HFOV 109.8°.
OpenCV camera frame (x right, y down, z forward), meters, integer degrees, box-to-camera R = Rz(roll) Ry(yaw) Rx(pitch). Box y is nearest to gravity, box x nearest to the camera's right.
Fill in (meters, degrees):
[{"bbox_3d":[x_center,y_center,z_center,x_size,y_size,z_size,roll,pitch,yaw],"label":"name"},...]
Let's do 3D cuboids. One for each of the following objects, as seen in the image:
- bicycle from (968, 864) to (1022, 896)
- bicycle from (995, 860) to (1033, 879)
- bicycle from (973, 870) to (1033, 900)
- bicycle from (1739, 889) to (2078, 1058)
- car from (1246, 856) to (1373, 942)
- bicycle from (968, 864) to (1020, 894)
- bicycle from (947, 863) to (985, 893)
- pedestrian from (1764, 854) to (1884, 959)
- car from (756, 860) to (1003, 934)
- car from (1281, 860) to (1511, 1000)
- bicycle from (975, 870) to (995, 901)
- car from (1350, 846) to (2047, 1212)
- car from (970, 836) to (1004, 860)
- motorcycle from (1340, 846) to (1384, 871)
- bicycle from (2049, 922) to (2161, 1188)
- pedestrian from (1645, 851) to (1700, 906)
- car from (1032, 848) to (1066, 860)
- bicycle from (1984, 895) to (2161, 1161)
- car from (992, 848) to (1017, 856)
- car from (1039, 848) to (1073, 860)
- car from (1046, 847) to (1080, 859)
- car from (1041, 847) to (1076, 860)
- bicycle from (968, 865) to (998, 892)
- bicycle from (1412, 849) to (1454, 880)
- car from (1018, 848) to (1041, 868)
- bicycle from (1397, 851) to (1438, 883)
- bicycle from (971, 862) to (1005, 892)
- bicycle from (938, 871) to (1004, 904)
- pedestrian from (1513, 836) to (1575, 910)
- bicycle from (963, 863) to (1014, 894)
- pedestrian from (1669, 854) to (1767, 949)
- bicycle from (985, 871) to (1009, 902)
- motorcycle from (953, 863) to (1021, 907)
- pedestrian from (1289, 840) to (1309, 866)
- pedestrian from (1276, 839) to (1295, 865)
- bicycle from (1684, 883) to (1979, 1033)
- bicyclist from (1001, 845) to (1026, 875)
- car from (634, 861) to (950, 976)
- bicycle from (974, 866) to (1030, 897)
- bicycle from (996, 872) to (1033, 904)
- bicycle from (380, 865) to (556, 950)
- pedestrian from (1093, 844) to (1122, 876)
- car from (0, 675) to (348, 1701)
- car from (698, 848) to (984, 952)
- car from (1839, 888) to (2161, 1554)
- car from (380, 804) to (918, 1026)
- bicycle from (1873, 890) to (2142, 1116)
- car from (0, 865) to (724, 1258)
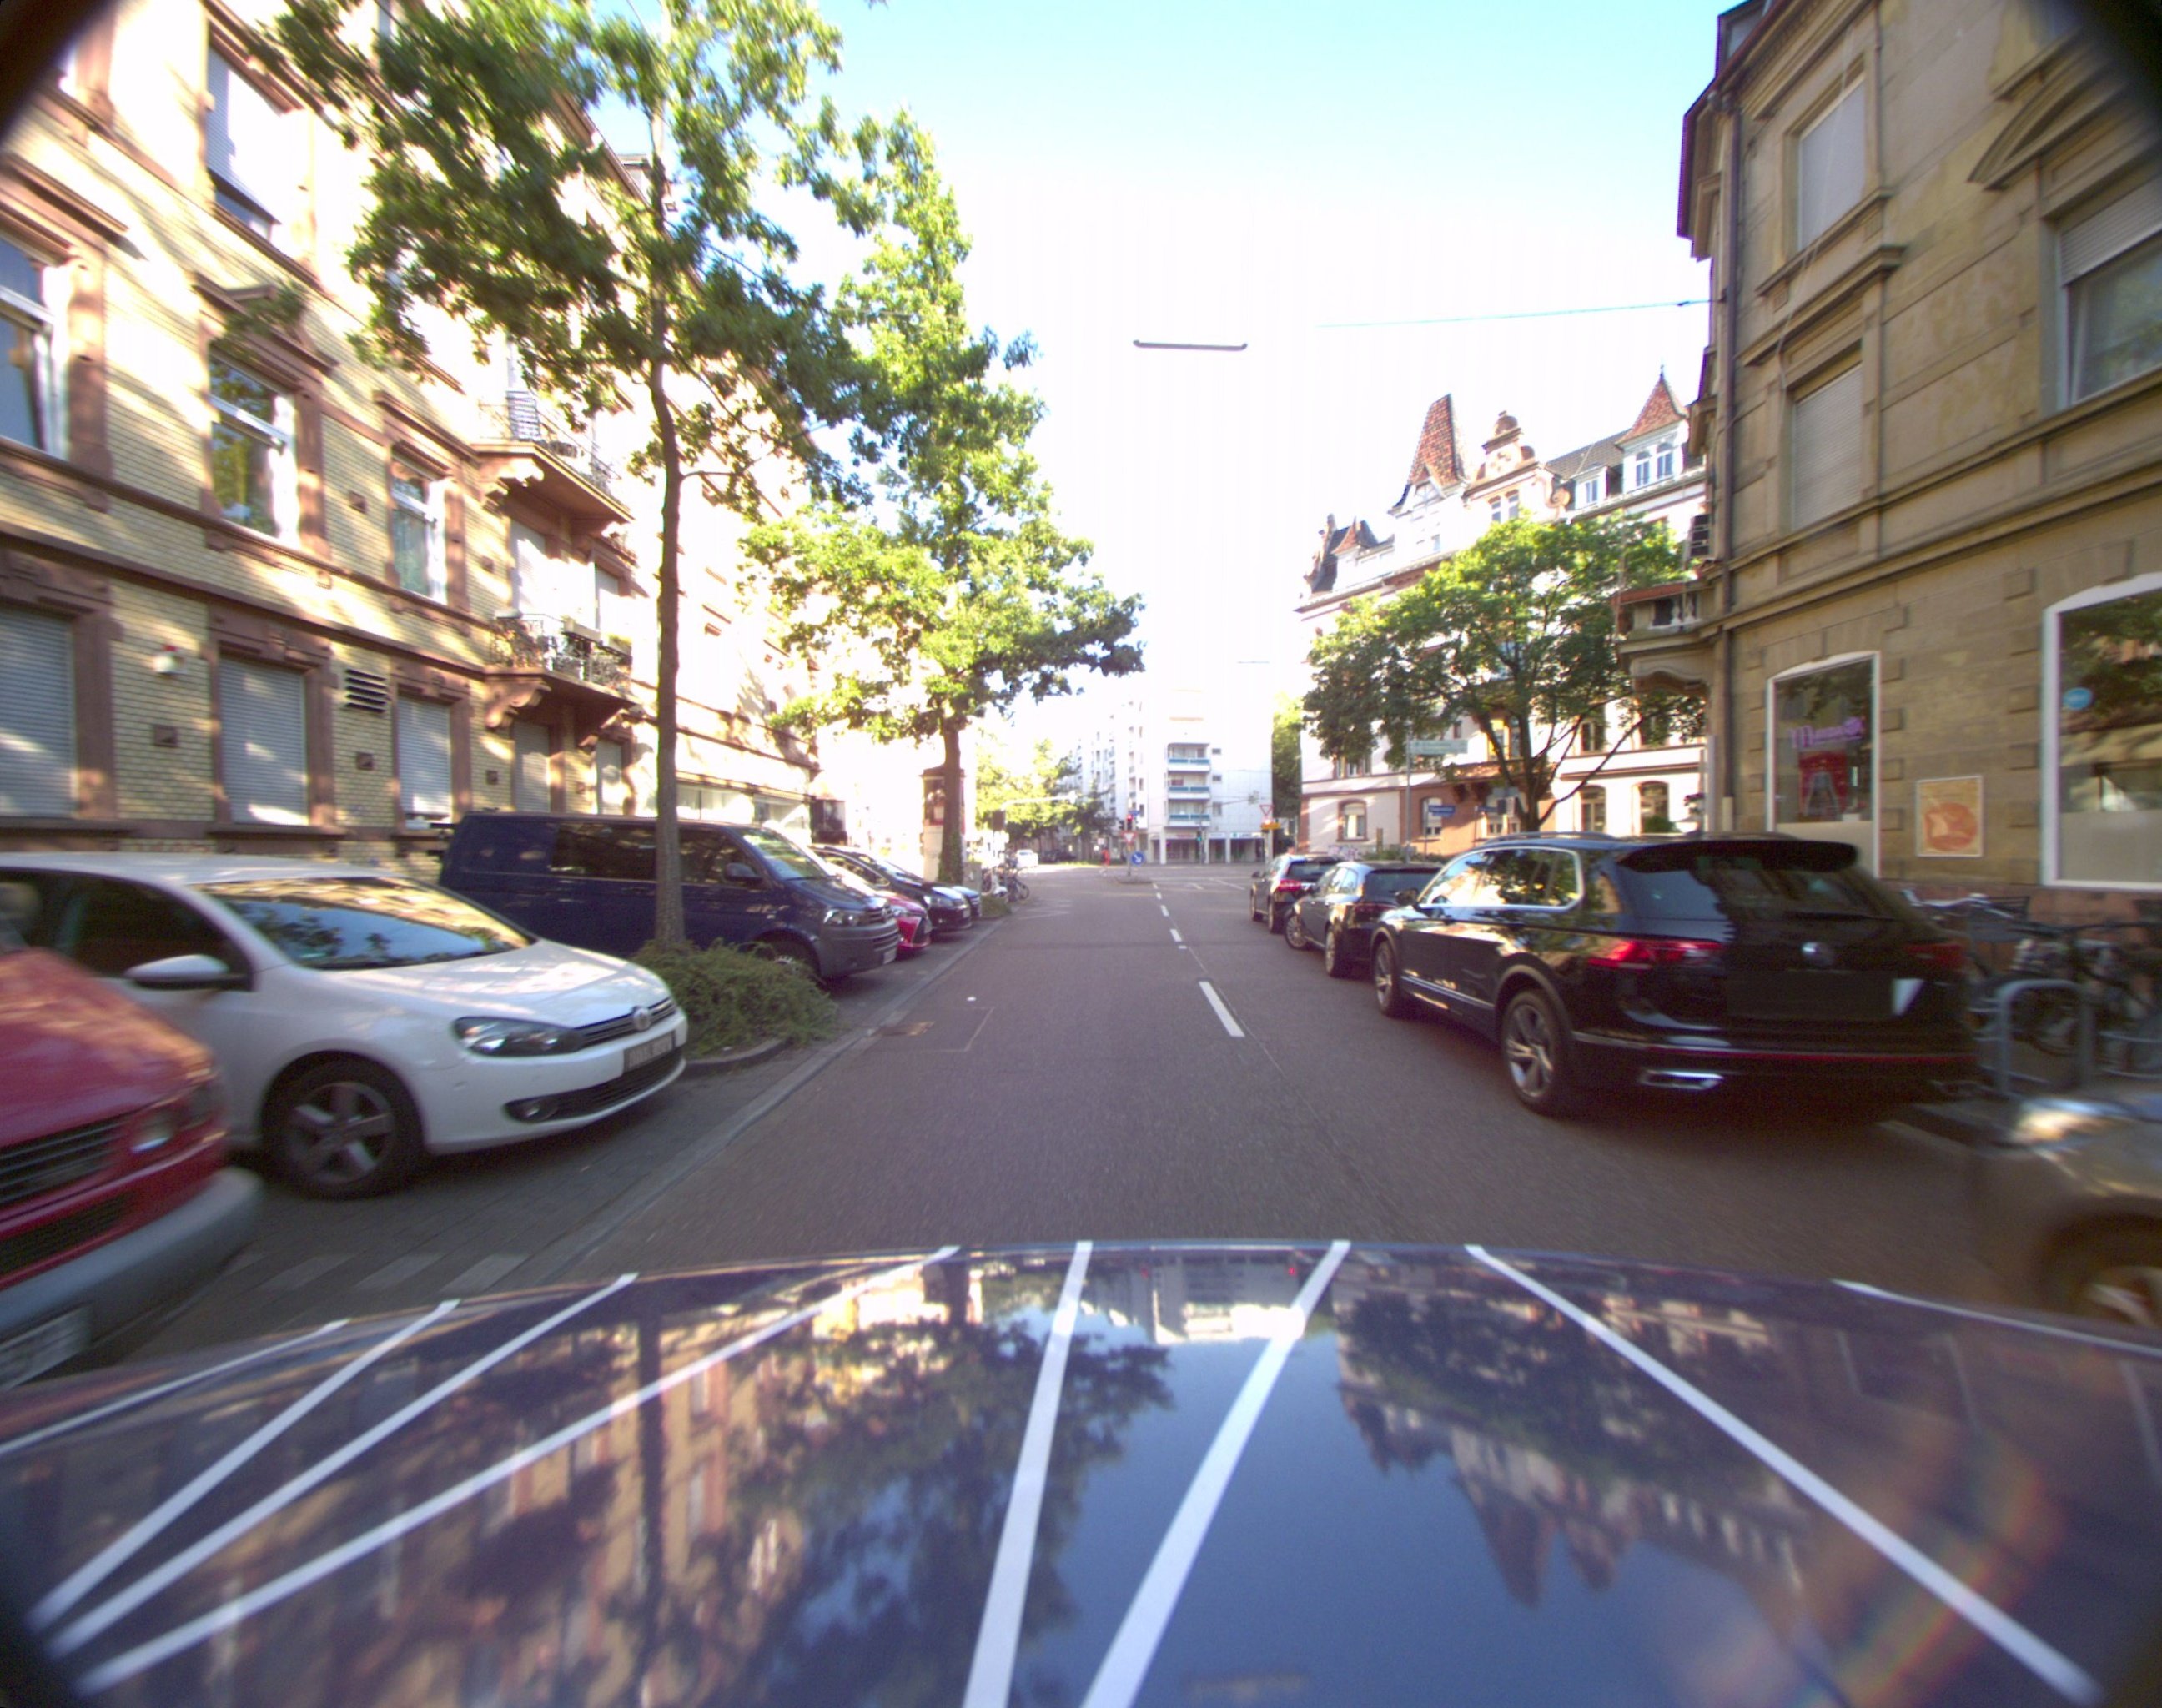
[{"bbox_3d":[-3.047,0.923,27.076,1.940,1.087,0.424,1,2,-36],"label":"bicycle"},{"bbox_3d":[-3.511,0.809,39.901,1.881,0.907,0.633,-3,1,-29],"label":"bicycle"},{"bbox_3d":[-2.645,1.048,25.761,1.939,0.982,0.495,1,2,-21],"label":"bicycle"},{"bbox_3d":[6.134,0.872,5.694,1.871,1.122,0.528,-2,1,3],"label":"bicycle"},{"bbox_3d":[4.521,0.806,15.640,1.762,1.479,4.140,0,1,6],"label":"car"},{"bbox_3d":[-3.169,0.905,27.884,1.940,1.087,0.424,1,2,-38],"label":"bicycle"},{"bbox_3d":[-4.316,0.886,28.674,0.572,1.087,1.480,3,2,32],"label":"bicycle"},{"bbox_3d":[9.045,0.616,9.283,0.727,1.207,0.756,-1,1,-1],"label":"pedestrian"},{"bbox_3d":[-4.221,0.885,16.402,4.796,1.405,1.851,1,1,3],"label":"car"},{"bbox_3d":[4.035,0.845,10.608,1.762,1.443,4.552,0,1,6],"label":"car"},{"bbox_3d":[-3.083,1.002,24.490,0.354,0.922,1.525,2,1,2],"label":"bicycle"},{"bbox_3d":[3.503,0.756,5.638,1.762,1.590,4.552,0,0,5],"label":"car"},{"bbox_3d":[-13.129,-0.797,105.810,3.328,3.160,8.070,-1,1,-17],"label":"car"},{"bbox_3d":[14.417,0.227,39.020,2.113,1.258,0.841,-1,1,-24],"label":"motorcycle"},{"bbox_3d":[5.714,0.884,3.471,1.872,1.122,0.528,-2,1,1],"label":"bicycle"},{"bbox_3d":[14.413,0.587,18.524,0.745,1.282,0.742,-1,1,-9],"label":"pedestrian"},{"bbox_3d":[-4.565,-0.041,107.847,4.308,1.576,1.996,-1,1,-19],"label":"car"},{"bbox_3d":[5.823,0.856,4.184,1.875,1.122,0.527,-3,1,-22],"label":"bicycle"},{"bbox_3d":[-14.654,-0.396,145.601,4.308,1.576,1.997,-1,1,-18],"label":"car"},{"bbox_3d":[-3.531,0.002,105.639,4.308,1.576,1.996,-1,1,-19],"label":"car"},{"bbox_3d":[-2.424,-0.149,100.729,4.003,1.576,1.996,-1,1,-19],"label":"car"},{"bbox_3d":[-3.044,-0.068,103.095,4.308,1.576,1.996,-1,1,-19],"label":"car"},{"bbox_3d":[-3.863,0.957,29.861,1.000,1.021,0.737,-1,1,-21],"label":"bicycle"},{"bbox_3d":[14.031,0.391,30.405,0.547,1.189,2.959,-1,1,5],"label":"bicycle"},{"bbox_3d":[-4.689,0.322,69.954,1.999,1.740,3.998,-1,1,-3],"label":"car"},{"bbox_3d":[13.440,0.474,30.451,0.547,1.189,2.959,-1,1,5],"label":"bicycle"},{"bbox_3d":[-3.548,0.863,29.025,0.424,1.087,1.480,3,2,31],"label":"bicycle"},{"bbox_3d":[-3.336,1.024,23.122,1.935,0.922,0.354,2,2,0],"label":"bicycle"},{"bbox_3d":[12.230,0.492,20.095,1.118,1.888,0.842,-1,1,-9],"label":"pedestrian"},{"bbox_3d":[-3.429,0.896,28.234,1.940,1.087,0.424,1,2,-38],"label":"bicycle"},{"bbox_3d":[8.864,0.639,10.606,0.727,1.252,0.756,-1,1,-1],"label":"pedestrian"},{"bbox_3d":[-2.690,1.024,24.358,0.354,0.922,1.526,2,1,8],"label":"bicycle"},{"bbox_3d":[-2.772,0.913,22.475,1.902,1.227,0.686,1,1,1],"label":"motorcycle"},{"bbox_3d":[14.543,-0.045,50.610,0.986,1.688,0.867,-2,1,-40],"label":"pedestrian"},{"bbox_3d":[13.784,-0.130,51.165,0.986,1.688,0.867,-2,2,-45],"label":"pedestrian"},{"bbox_3d":[6.229,0.849,6.368,1.871,1.122,0.528,-2,1,3],"label":"bicycle"},{"bbox_3d":[-3.561,0.323,39.881,1.082,1.544,0.633,-3,1,-29],"label":"bicyclist"},{"bbox_3d":[-4.249,0.926,11.615,4.116,1.526,1.724,-1,1,1],"label":"car"},{"bbox_3d":[-2.748,0.957,26.692,1.940,1.046,0.501,1,2,-36],"label":"bicycle"},{"bbox_3d":[-2.089,1.064,24.007,0.353,0.922,1.416,3,2,31],"label":"bicycle"},{"bbox_3d":[-9.898,0.804,12.450,0.672,1.165,2.593,1,1,3],"label":"bicycle"},{"bbox_3d":[1.438,0.300,40.819,1.175,1.670,1.005,-2,1,-29],"label":"pedestrian"},{"bbox_3d":[-4.463,0.626,1.252,4.686,2.022,1.878,1,1,0],"label":"car"},{"bbox_3d":[-4.324,0.760,13.990,4.695,1.669,1.852,1,1,10],"label":"car"},{"bbox_3d":[3.270,0.866,0.455,1.762,1.492,4.061,0,0,4],"label":"car"},{"bbox_3d":[-4.655,0.624,8.792,5.033,2.202,1.992,-1,1,1],"label":"car"},{"bbox_3d":[5.867,0.855,4.793,1.875,1.122,0.527,-3,1,-22],"label":"bicycle"},{"bbox_3d":[-4.394,0.870,4.063,4.064,1.501,1.878,1,1,0],"label":"car"}]
